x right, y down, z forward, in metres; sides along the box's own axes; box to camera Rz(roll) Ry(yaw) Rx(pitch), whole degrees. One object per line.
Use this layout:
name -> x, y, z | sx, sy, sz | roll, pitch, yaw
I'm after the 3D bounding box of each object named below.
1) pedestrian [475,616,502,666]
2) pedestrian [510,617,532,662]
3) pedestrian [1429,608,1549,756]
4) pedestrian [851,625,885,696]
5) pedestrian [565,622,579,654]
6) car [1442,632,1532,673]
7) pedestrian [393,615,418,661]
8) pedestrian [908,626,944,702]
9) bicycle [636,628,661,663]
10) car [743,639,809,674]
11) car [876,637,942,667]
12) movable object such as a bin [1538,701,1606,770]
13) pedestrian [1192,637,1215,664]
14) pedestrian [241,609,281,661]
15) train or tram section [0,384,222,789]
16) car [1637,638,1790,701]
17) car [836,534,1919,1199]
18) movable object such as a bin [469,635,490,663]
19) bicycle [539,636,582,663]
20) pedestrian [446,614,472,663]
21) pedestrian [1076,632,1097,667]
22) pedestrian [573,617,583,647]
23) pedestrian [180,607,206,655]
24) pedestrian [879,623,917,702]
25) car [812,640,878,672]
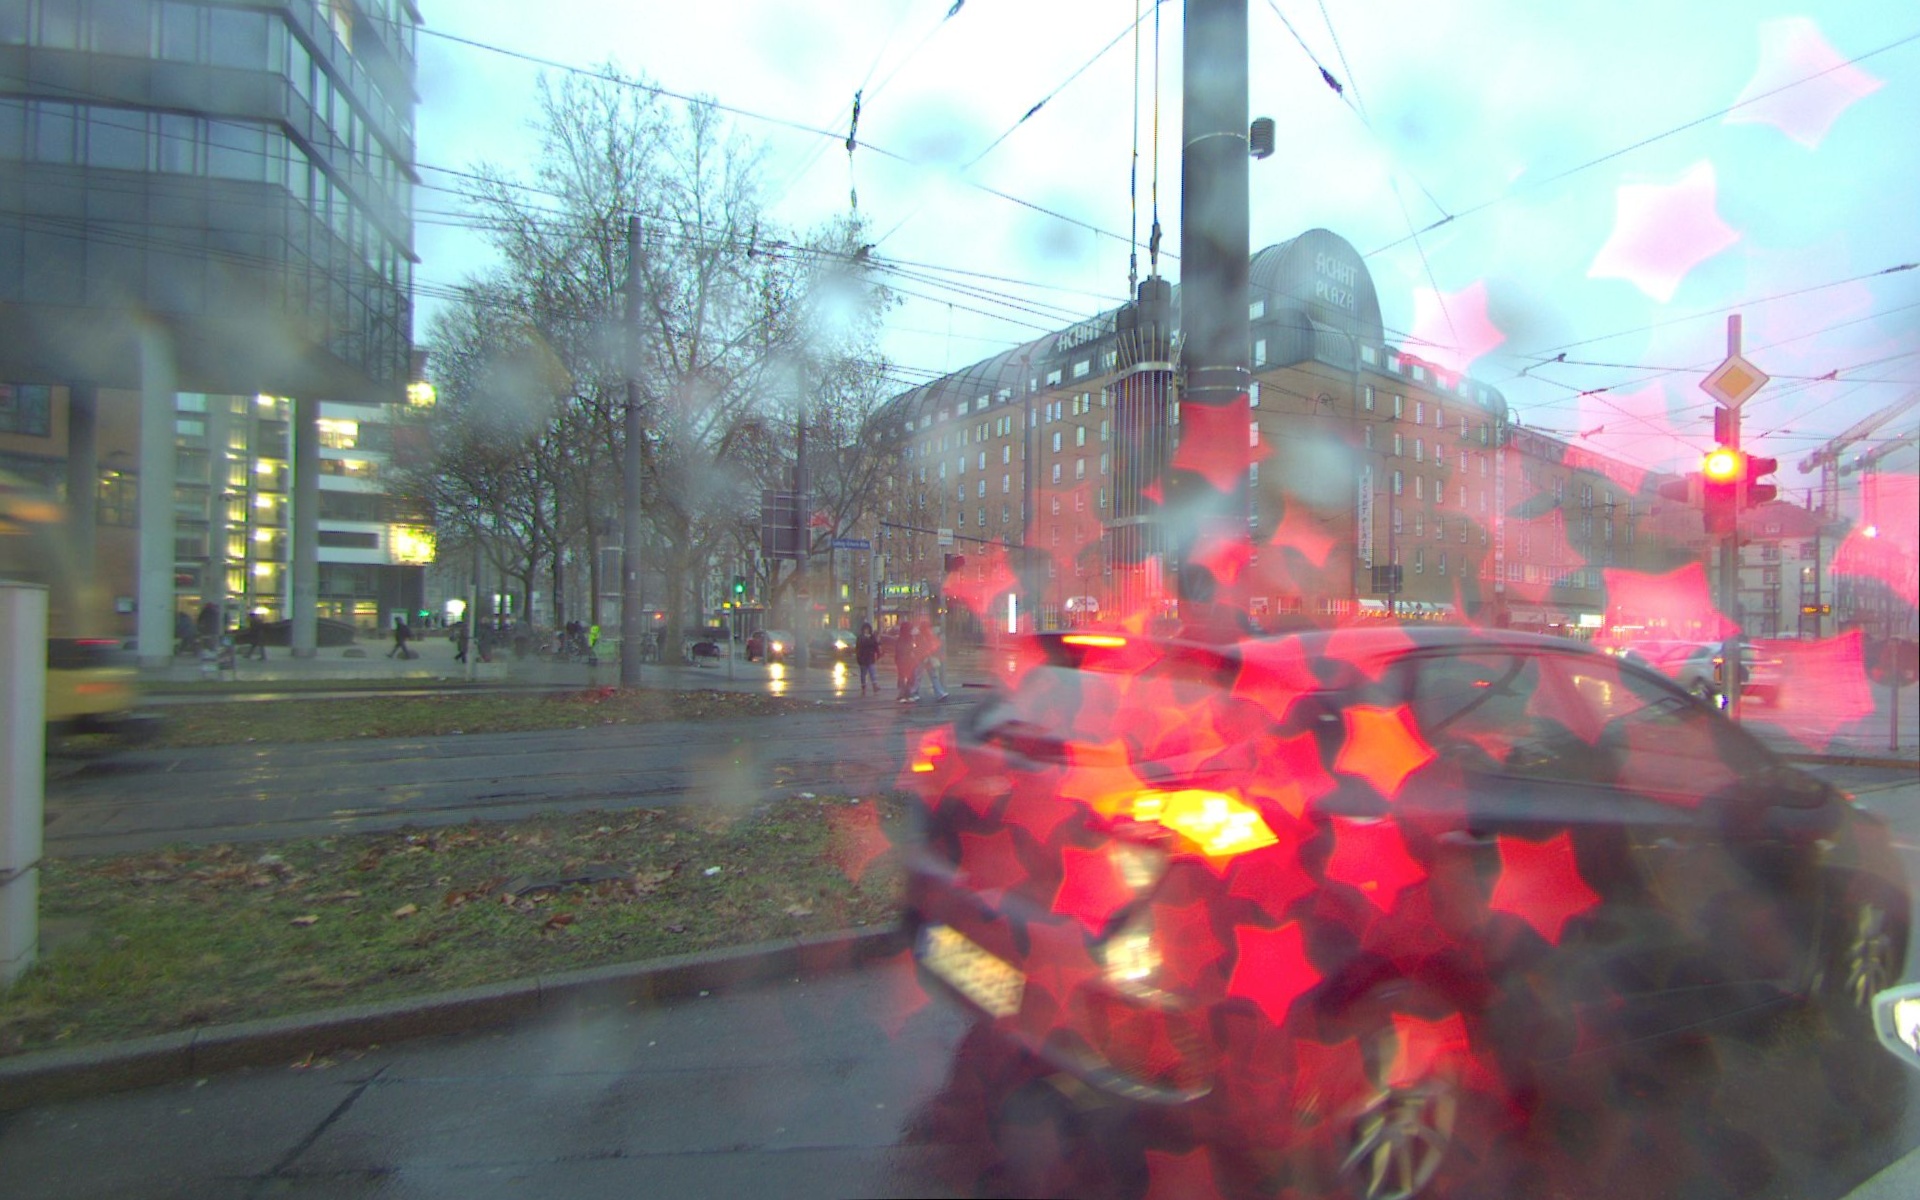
pedestrian -> -17.210, 1.498, 36.638 | 0.811, 1.797, 0.568 | 1, -2, -29
pedestrian -> -18.166, 1.620, 41.543 | 0.719, 1.840, 0.773 | 1, -1, -30
pedestrian -> 6.034, 0.924, 11.518 | 1.016, 1.621, 0.716 | 0, -3, 11
pedestrian -> -2.021, 1.321, 22.116 | 0.724, 1.519, 0.676 | 1, -1, -4
pedestrian -> -19.238, 1.875, 49.810 | 0.637, 1.577, 0.765 | 1, -1, -22
car -> 20.320, 2.007, 38.905 | 1.669, 1.478, 3.759 | 1, -2, 3
pedestrian -> -21.408, 1.458, 38.791 | 0.776, 1.734, 0.650 | 1, -2, -32
pedestrian -> -0.708, 1.313, 20.808 | 0.604, 1.532, 0.519 | 1, -1, -18
bicycle -> -12.268, 1.773, 39.540 | 0.624, 1.336, 2.296 | 1, -2, -25
car -> -8.753, 2.642, 47.547 | 1.975, 1.483, 3.970 | 1, -2, -28
car -> -2.713, 2.695, 52.577 | 1.975, 1.483, 3.970 | 1, -2, -28
movable object such as a bin -> 6.768, 1.491, 11.121 | 0.527, 0.708, 0.413 | 0, -3, 11
pedestrian -> 15.841, 3.289, 65.344 | 1.149, 1.700, 0.894 | -1, -2, 42
pedestrian -> -23.873, 1.205, 34.307 | 0.772, 1.734, 1.008 | 1, -1, -15
train or tram section -> -16.441, -0.282, 6.073 | 18.992, 3.662, 2.850 | 2, -2, -31
car -> 19.236, 1.729, 25.858 | 1.676, 1.467, 4.003 | 0, -2, 13
car -> 1.681, 0.731, 3.614 | 3.895, 1.543, 1.622 | 2, -2, -30
movable object such as a bin -> -18.199, 1.849, 38.049 | 0.637, 1.048, 0.572 | 1, -1, -23
bicycle -> -16.363, 2.009, 41.169 | 1.564, 1.088, 0.451 | 1, -2, -20
pedestrian -> -18.856, 1.434, 37.819 | 0.778, 1.828, 0.868 | 1, -1, -22
pedestrian -> 7.516, 2.930, 59.742 | 1.142, 2.037, 0.899 | 0, -2, 11
pedestrian -> -26.278, 2.225, 69.171 | 0.568, 2.040, 0.583 | 1, -2, -16
pedestrian -> -26.413, 1.060, 34.592 | 0.670, 1.629, 0.449 | 1, -2, -38
pedestrian -> -1.241, 1.232, 20.018 | 0.635, 1.532, 0.560 | 1, -1, -18
car -> -5.818, 2.796, 50.630 | 1.975, 1.483, 3.970 | 1, -2, -28
